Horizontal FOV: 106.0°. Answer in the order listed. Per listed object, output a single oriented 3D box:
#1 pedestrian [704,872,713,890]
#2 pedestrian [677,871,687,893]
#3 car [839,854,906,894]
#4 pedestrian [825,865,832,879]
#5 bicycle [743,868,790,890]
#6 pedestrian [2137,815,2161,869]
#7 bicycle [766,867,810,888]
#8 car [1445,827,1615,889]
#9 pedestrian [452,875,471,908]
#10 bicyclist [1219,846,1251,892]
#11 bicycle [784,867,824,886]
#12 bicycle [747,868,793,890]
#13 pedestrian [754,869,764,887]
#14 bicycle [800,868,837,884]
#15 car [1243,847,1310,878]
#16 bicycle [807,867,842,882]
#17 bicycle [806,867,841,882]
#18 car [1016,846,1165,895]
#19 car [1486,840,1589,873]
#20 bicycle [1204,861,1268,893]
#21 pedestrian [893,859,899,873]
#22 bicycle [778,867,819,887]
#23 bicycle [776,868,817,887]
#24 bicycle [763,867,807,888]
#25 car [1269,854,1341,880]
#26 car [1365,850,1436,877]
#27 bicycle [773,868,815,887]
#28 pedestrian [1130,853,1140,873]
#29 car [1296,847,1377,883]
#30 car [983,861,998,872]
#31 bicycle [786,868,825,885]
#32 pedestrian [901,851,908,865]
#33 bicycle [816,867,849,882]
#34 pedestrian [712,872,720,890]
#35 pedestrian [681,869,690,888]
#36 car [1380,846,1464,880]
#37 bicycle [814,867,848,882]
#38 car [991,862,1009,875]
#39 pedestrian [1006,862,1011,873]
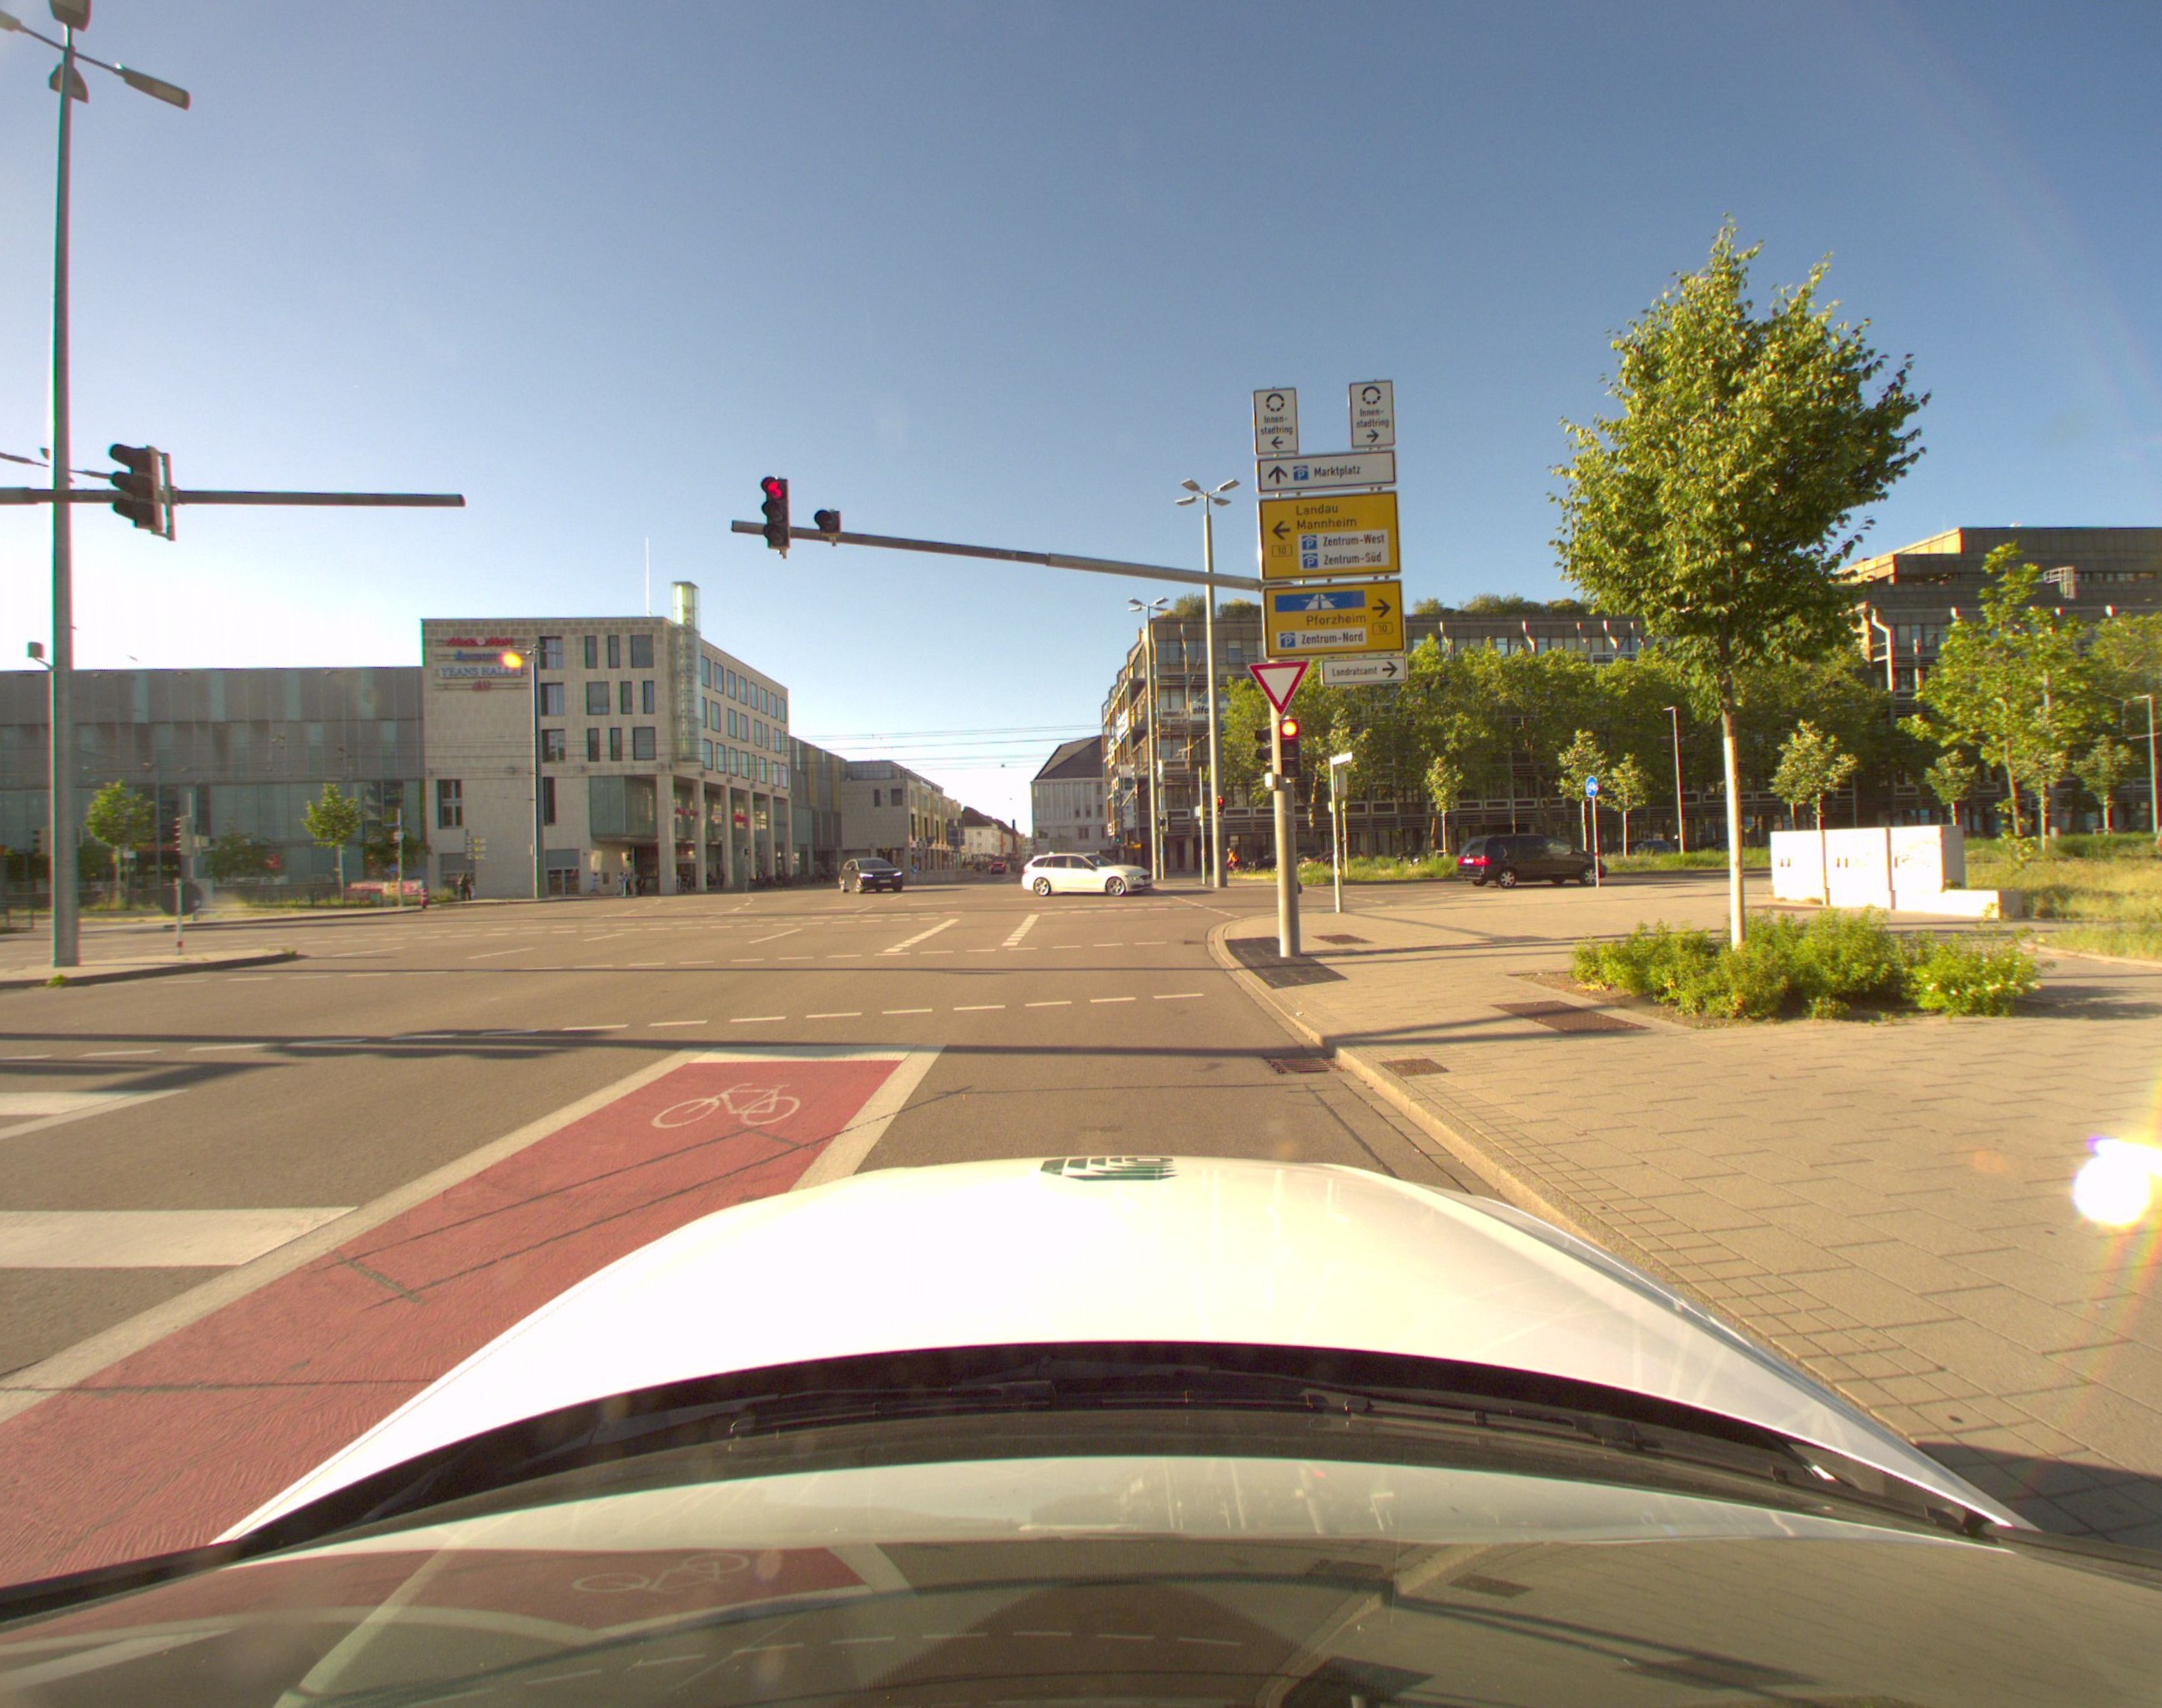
[{"bbox_3d":[-32.471,2.371,71.058,0.510,1.510,0.513,-2,0,-3],"label":"pedestrian"},{"bbox_3d":[-30.373,2.147,61.970,0.541,1.642,0.548,-2,0,-14],"label":"pedestrian"},{"bbox_3d":[-9.370,0.813,36.373,2.003,1.601,4.913,-1,1,-25],"label":"car"},{"bbox_3d":[-29.965,2.158,96.571,0.652,1.642,0.693,-2,0,-7],"label":"pedestrian"},{"bbox_3d":[-26.729,2.092,69.299,3.488,1.696,1.114,-2,0,-7],"label":"bicycle"},{"bbox_3d":[32.566,-0.368,24.347,0.801,1.630,0.939,-2,0,-12],"label":"pedestrian"},{"bbox_3d":[-26.318,2.111,73.180,3.488,1.696,1.114,-2,0,-7],"label":"bicycle"},{"bbox_3d":[14.457,0.088,26.344,4.466,1.758,1.996,-2,1,-6],"label":"car"},{"bbox_3d":[-32.665,1.989,42.951,0.524,1.694,0.548,-2,0,-1],"label":"pedestrian"},{"bbox_3d":[8.886,0.852,47.072,1.566,2.580,0.929,-2,0,-7],"label":"bicyclist"},{"bbox_3d":[-27.245,2.230,80.168,3.491,1.696,0.984,-2,0,-10],"label":"bicycle"},{"bbox_3d":[-26.909,2.156,70.528,3.488,1.696,1.114,-2,0,-7],"label":"bicycle"},{"bbox_3d":[-30.359,2.254,76.742,0.785,1.642,0.691,-2,0,-14],"label":"pedestrian"},{"bbox_3d":[-27.545,2.286,85.587,3.491,1.527,0.984,-2,0,-10],"label":"bicycle"},{"bbox_3d":[12.840,0.557,53.624,3.975,2.014,1.999,0,-1,-1],"label":"car"},{"bbox_3d":[-27.919,2.207,88.584,3.491,1.527,0.984,-2,0,-10],"label":"bicycle"},{"bbox_3d":[-27.649,2.207,87.455,3.491,1.527,0.984,-2,0,-10],"label":"bicycle"},{"bbox_3d":[0.288,0.566,27.898,4.642,1.528,2.012,-2,0,29],"label":"car"},{"bbox_3d":[28.894,0.141,51.652,5.424,2.014,2.097,0,-1,-1],"label":"car"},{"bbox_3d":[8.927,1.312,47.068,3.488,1.659,0.929,-2,0,-7],"label":"bicycle"},{"bbox_3d":[-26.377,1.667,116.035,0.623,2.013,0.734,-2,0,4],"label":"pedestrian"},{"bbox_3d":[-27.041,2.206,78.072,3.491,1.696,0.984,-2,0,-10],"label":"bicycle"},{"bbox_3d":[-26.853,2.195,76.863,3.491,1.696,0.984,-2,0,-10],"label":"bicycle"},{"bbox_3d":[-26.142,2.065,71.960,3.488,1.696,1.114,-2,0,-7],"label":"bicycle"},{"bbox_3d":[13.852,0.779,50.476,3.976,1.508,1.867,-1,0,-2],"label":"car"},{"bbox_3d":[21.404,0.652,54.581,3.976,1.750,1.998,0,-1,-2],"label":"car"},{"bbox_3d":[-26.677,2.176,75.767,3.491,1.696,0.984,-2,0,-10],"label":"bicycle"},{"bbox_3d":[4.519,0.782,68.259,0.661,1.658,0.755,-2,0,-1],"label":"pedestrian"},{"bbox_3d":[14.453,0.616,46.209,3.975,2.014,1.999,0,-1,-1],"label":"car"},{"bbox_3d":[-14.643,2.008,132.053,1.988,1.660,4.402,-3,-1,-2],"label":"car"},{"bbox_3d":[-27.407,2.222,81.165,3.491,1.527,0.984,-2,0,-10],"label":"bicycle"},{"bbox_3d":[-25.353,0.564,117.042,0.623,2.013,0.734,-2,0,4],"label":"pedestrian"},{"bbox_3d":[-28.285,2.324,92.784,3.491,1.527,0.984,-2,0,-10],"label":"bicycle"},{"bbox_3d":[-32.147,2.375,71.763,0.480,1.510,0.513,-2,0,-3],"label":"pedestrian"},{"bbox_3d":[-33.180,2.083,68.298,0.428,1.585,0.498,-2,0,-3],"label":"pedestrian"},{"bbox_3d":[21.406,0.558,51.247,4.435,2.014,1.998,0,-1,-4],"label":"car"},{"bbox_3d":[-28.168,2.287,91.754,3.491,1.527,0.984,-2,0,-10],"label":"bicycle"},{"bbox_3d":[-10.785,1.879,108.865,2.195,1.607,4.320,-2,0,-4],"label":"car"},{"bbox_3d":[-9.766,1.763,108.986,0.608,1.411,0.569,-2,0,-5],"label":"pedestrian"}]
